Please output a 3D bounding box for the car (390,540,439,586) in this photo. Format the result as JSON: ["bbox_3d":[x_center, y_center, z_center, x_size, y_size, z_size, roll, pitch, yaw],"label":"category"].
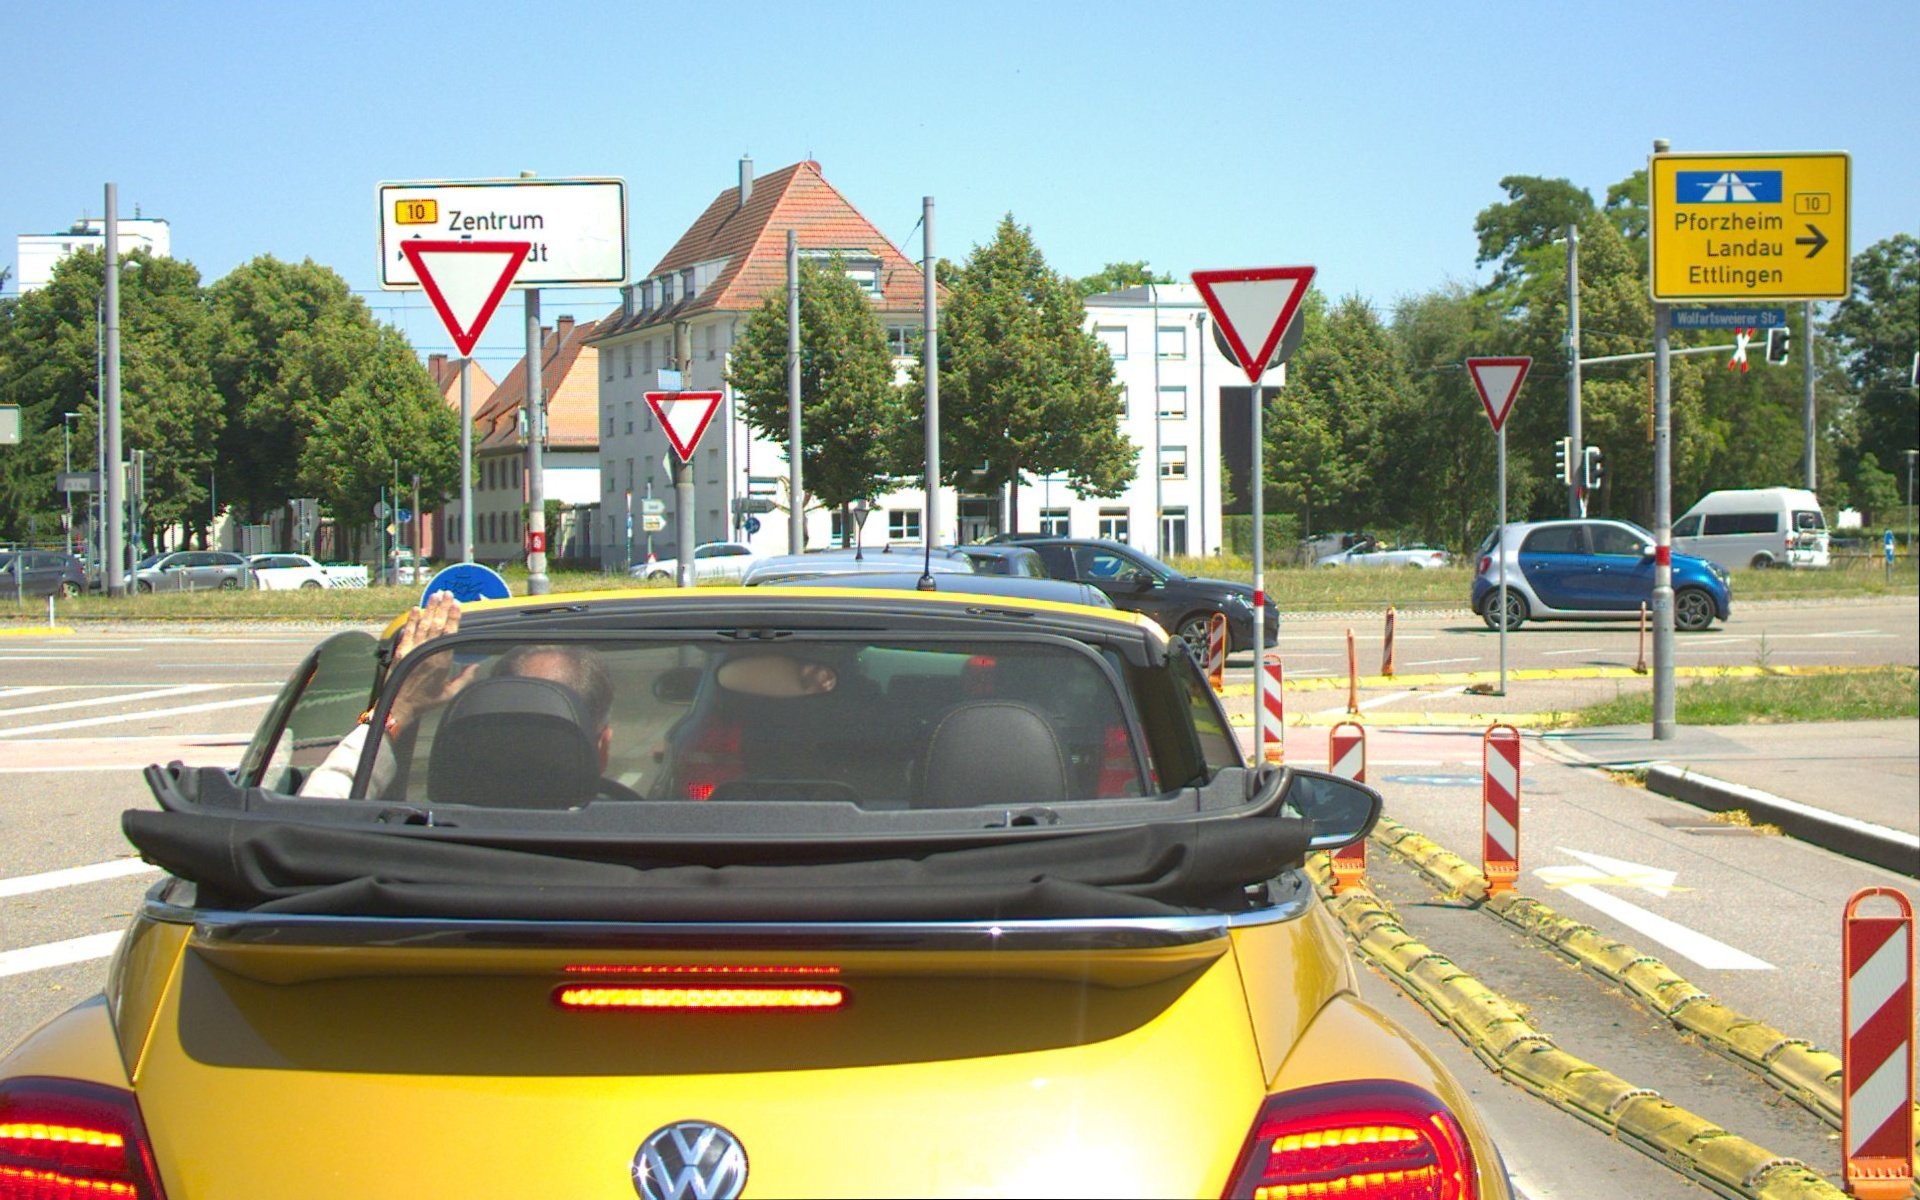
[{"bbox_3d":[-21.765,-1.483,137.211,1.754,1.788,4.001,1,1,-7],"label":"car"}]

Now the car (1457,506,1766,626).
[{"bbox_3d":[8.819,-0.468,46.817,3.988,1.547,1.727,1,0,6],"label":"car"}]

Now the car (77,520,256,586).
[{"bbox_3d":[-21.571,-1.272,93.552,4.432,1.730,1.848,0,1,-44],"label":"car"}]

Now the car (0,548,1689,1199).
[{"bbox_3d":[-0.287,0.679,5.090,1.765,1.476,4.258,1,1,-1],"label":"car"}]

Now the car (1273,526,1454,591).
[{"bbox_3d":[12.608,-1.304,107.344,5.315,1.955,1.992,1,1,17],"label":"car"}]

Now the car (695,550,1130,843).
[{"bbox_3d":[-0.248,0.441,18.589,2.065,1.377,4.258,1,1,-1],"label":"car"}]

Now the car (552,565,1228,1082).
[{"bbox_3d":[-0.217,0.596,11.640,1.851,1.361,4.258,-1,1,-1],"label":"car"}]

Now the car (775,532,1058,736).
[{"bbox_3d":[-0.345,0.206,27.639,2.065,1.476,4.543,-1,1,-1],"label":"car"}]

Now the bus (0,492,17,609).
[{"bbox_3d":[-29.138,-1.385,91.850,7.255,3.161,2.260,0,1,-39],"label":"bus"}]

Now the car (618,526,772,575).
[{"bbox_3d":[-7.792,-1.454,101.011,4.315,1.367,1.753,1,1,-12],"label":"car"}]

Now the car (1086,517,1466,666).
[{"bbox_3d":[3.559,-0.104,38.513,3.990,1.546,1.727,0,3,15],"label":"car"}]

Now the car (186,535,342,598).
[{"bbox_3d":[-19.966,-0.961,98.603,3.987,1.766,1.786,0,1,-36],"label":"car"}]

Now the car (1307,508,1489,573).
[{"bbox_3d":[13.627,-1.852,106.974,5.316,1.955,1.992,1,1,19],"label":"car"}]

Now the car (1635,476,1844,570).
[{"bbox_3d":[20.679,-2.035,91.369,1.988,2.389,5.327,0,1,-38],"label":"car"}]
